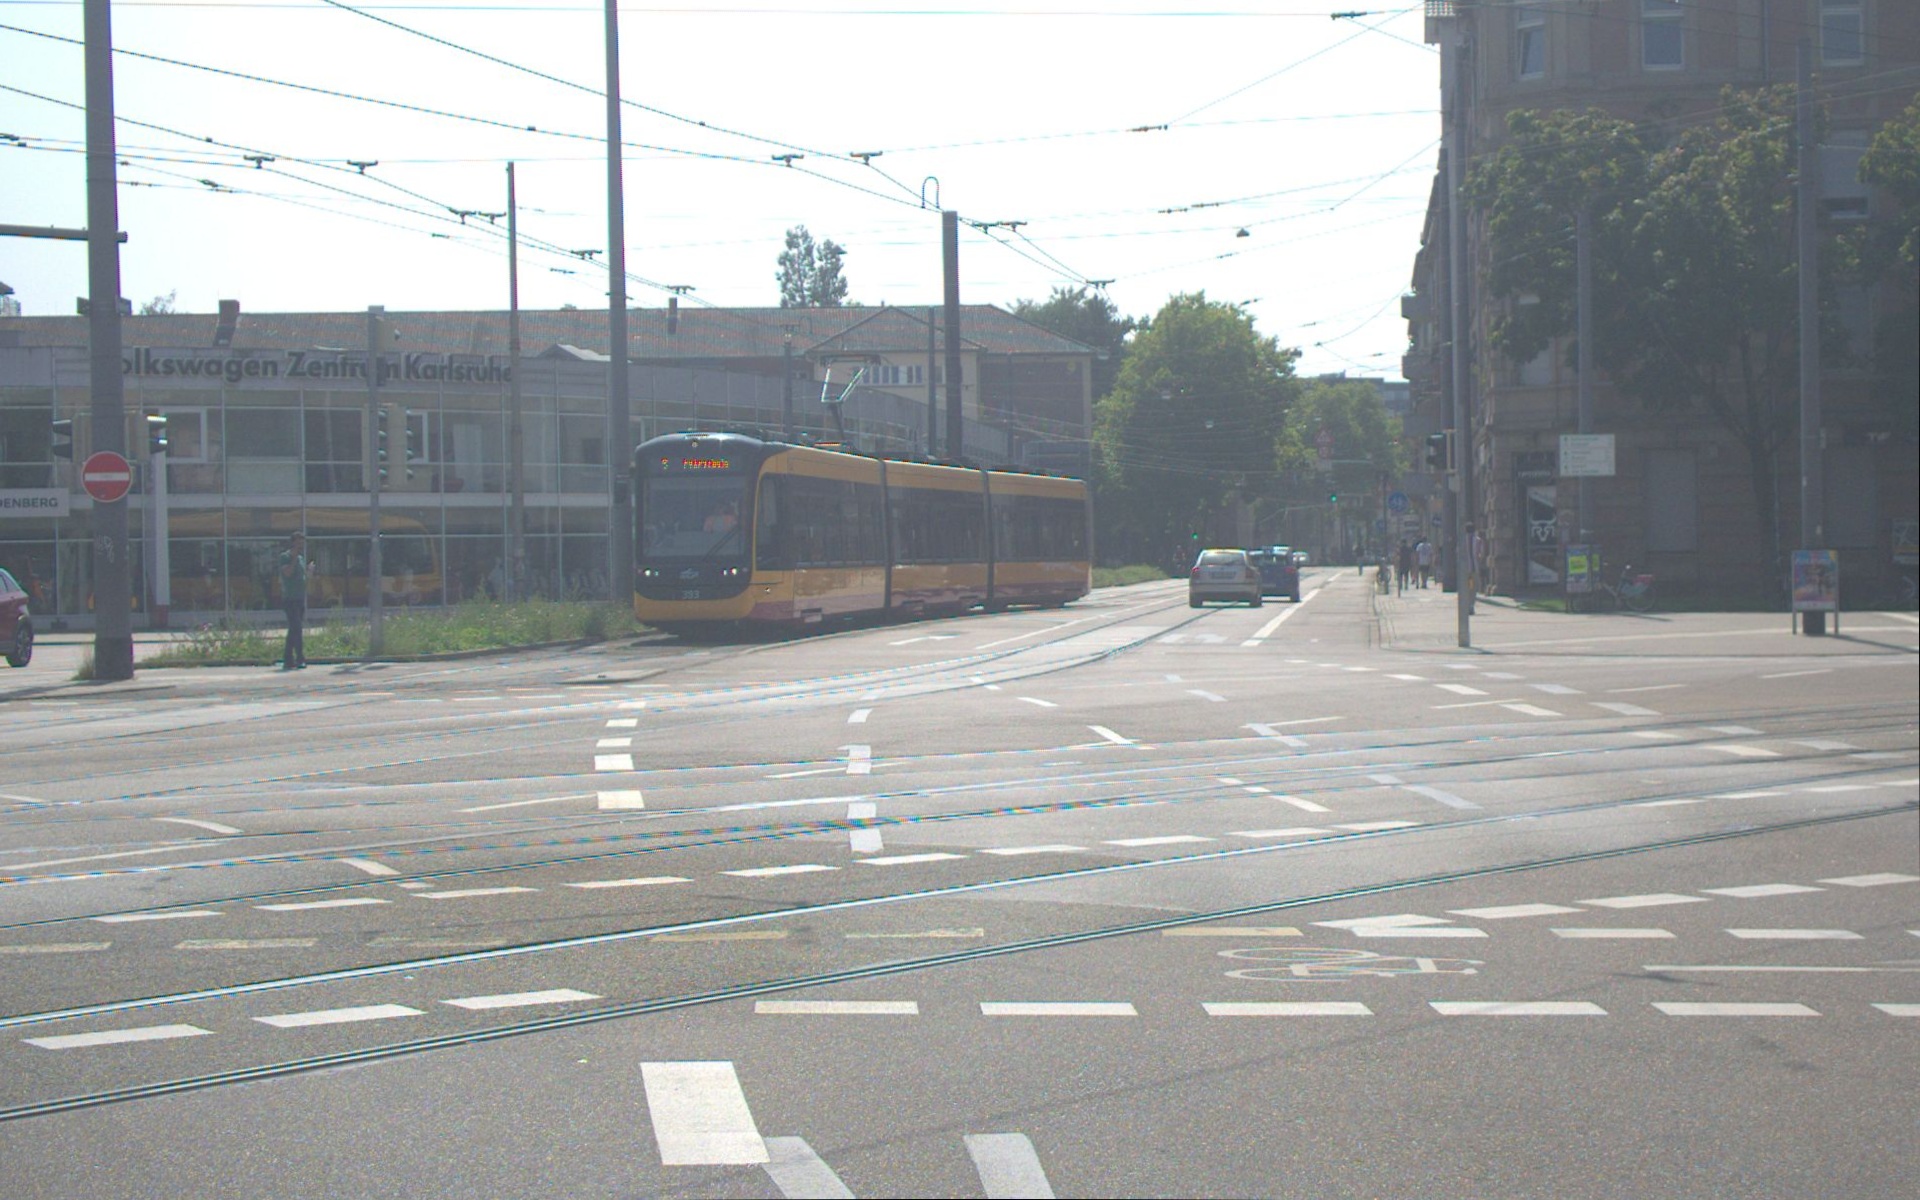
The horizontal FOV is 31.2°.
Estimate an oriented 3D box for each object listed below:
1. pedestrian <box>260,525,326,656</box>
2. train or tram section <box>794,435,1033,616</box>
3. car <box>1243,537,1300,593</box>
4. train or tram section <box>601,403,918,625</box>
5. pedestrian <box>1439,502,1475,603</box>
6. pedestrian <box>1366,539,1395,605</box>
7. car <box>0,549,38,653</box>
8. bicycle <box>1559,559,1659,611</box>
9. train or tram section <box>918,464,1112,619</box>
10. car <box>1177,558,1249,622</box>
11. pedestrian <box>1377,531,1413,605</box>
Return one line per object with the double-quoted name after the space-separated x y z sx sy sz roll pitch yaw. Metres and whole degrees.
-8.654 -0.129 44.614 0.802 1.681 0.719 -1 1 -10 "pedestrian"
-0.800 -1.458 73.785 2.588 3.548 12.211 1 0 11 "train or tram section"
8.701 -0.987 96.173 1.510 1.506 3.623 -1 1 4 "car"
-3.309 -1.384 61.307 2.588 3.548 12.211 1 0 11 "train or tram section"
9.949 -0.949 68.800 0.649 2.007 0.703 -1 1 4 "pedestrian"
12.969 -0.869 106.033 0.791 2.007 0.810 1 0 -1 "pedestrian"
-14.480 0.036 48.278 1.625 1.467 3.771 -1 1 7 "car"
12.208 -0.279 64.670 1.782 0.954 0.462 -1 1 2 "bicycle"
1.527 -1.345 85.266 2.588 3.548 12.211 1 0 11 "train or tram section"
6.385 -0.243 87.096 1.732 1.568 3.612 1 0 3 "car"
11.883 -0.870 93.868 0.839 2.007 0.810 1 0 -1 "pedestrian"
